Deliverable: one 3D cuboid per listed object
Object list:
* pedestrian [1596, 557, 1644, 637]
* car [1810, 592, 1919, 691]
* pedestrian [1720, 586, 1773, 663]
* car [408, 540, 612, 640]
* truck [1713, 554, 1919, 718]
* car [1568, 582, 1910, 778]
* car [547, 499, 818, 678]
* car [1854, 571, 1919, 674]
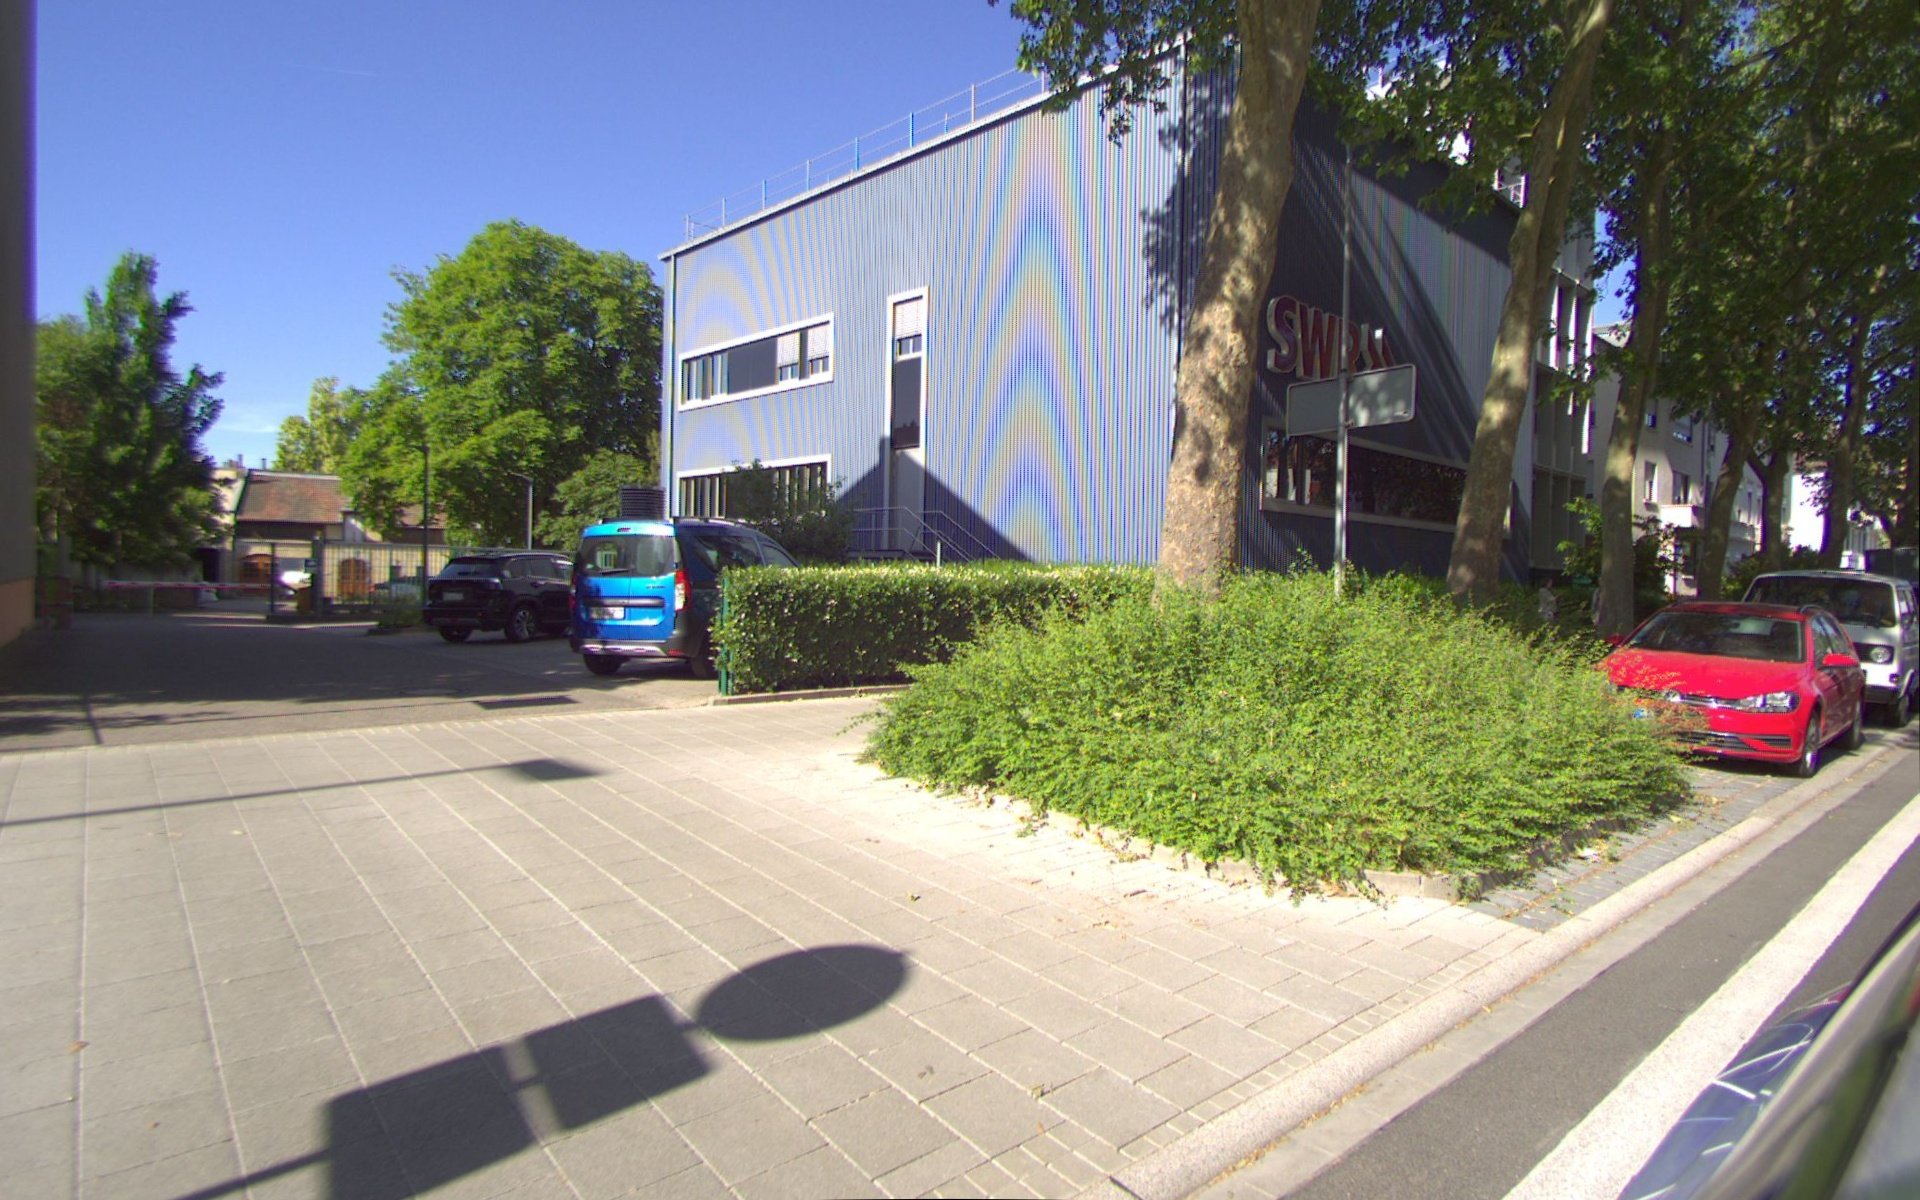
[{"bbox_3d":[14.148,-0.044,21.687,0.663,1.671,0.706,4,-4,-44],"label":"pedestrian"},{"bbox_3d":[16.160,0.645,17.314,4.028,1.495,1.752,0,2,-39],"label":"car"},{"bbox_3d":[17.267,0.523,22.217,1.246,1.622,0.728,0,1,-43],"label":"pedestrian"},{"bbox_3d":[-8.242,-0.273,18.900,1.828,1.651,3.538,1,3,11],"label":"car"},{"bbox_3d":[12.125,0.375,13.951,4.376,1.904,1.880,0,2,-41],"label":"truck"},{"bbox_3d":[8.058,0.618,10.295,4.595,1.526,1.825,0,2,-41],"label":"car"},{"bbox_3d":[-3.250,-0.125,12.557,1.686,1.877,3.490,0,0,16],"label":"car"},{"bbox_3d":[20.377,0.425,21.076,5.182,1.971,2.029,0,1,-42],"label":"car"}]
